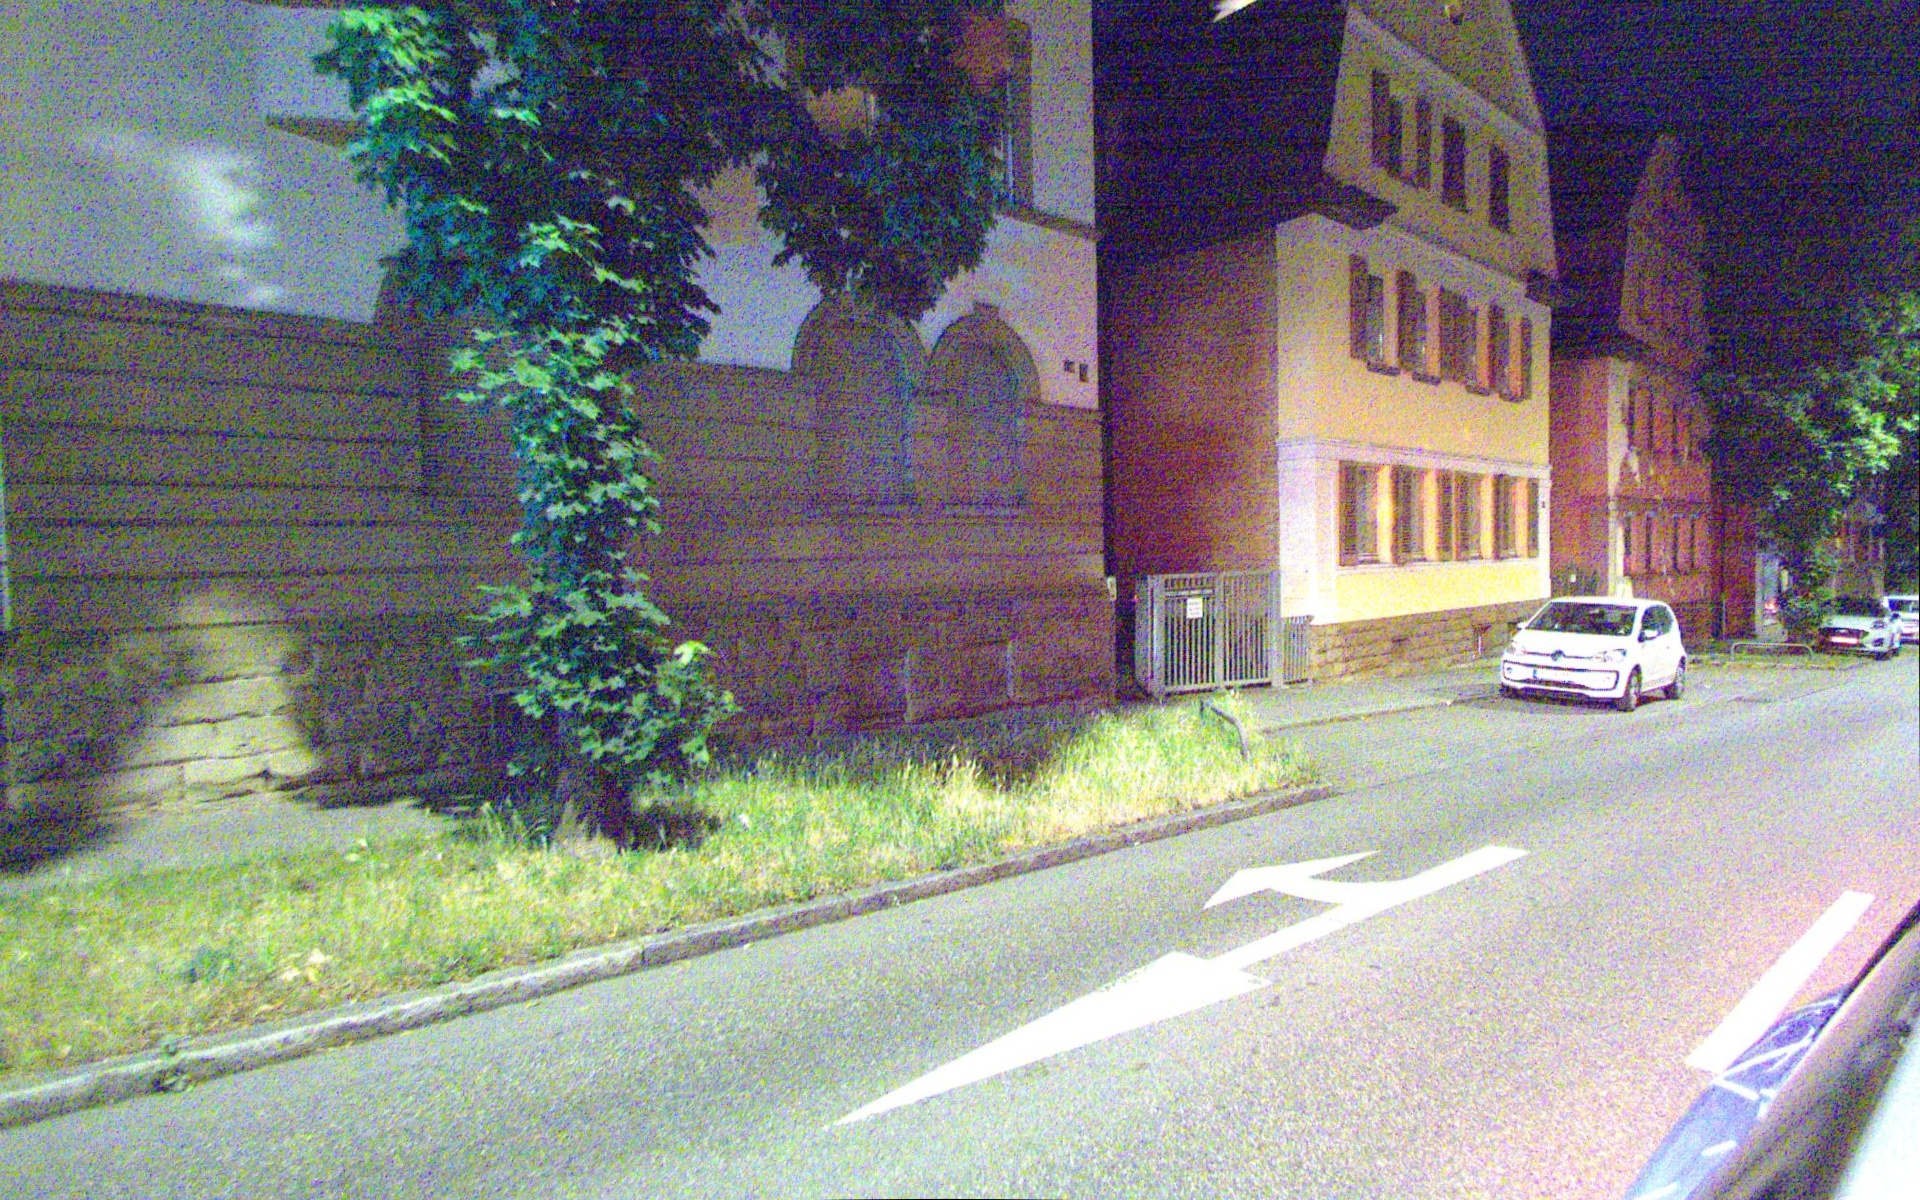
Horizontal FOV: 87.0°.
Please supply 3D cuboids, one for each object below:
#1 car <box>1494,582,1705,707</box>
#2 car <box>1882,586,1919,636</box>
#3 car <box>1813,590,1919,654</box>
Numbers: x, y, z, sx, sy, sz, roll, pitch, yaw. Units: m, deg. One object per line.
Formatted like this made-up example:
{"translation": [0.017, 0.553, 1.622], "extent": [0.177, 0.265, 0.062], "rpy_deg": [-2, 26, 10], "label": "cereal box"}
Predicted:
{"translation": [9.222, 0.553, 14.514], "extent": [3.425, 1.527, 1.610], "rpy_deg": [0, 2, -41], "label": "car"}
{"translation": [33.539, 0.369, 35.142], "extent": [4.107, 1.673, 1.850], "rpy_deg": [0, 0, -42], "label": "car"}
{"translation": [23.615, 0.509, 26.284], "extent": [3.824, 1.516, 1.740], "rpy_deg": [0, 1, -43], "label": "car"}
